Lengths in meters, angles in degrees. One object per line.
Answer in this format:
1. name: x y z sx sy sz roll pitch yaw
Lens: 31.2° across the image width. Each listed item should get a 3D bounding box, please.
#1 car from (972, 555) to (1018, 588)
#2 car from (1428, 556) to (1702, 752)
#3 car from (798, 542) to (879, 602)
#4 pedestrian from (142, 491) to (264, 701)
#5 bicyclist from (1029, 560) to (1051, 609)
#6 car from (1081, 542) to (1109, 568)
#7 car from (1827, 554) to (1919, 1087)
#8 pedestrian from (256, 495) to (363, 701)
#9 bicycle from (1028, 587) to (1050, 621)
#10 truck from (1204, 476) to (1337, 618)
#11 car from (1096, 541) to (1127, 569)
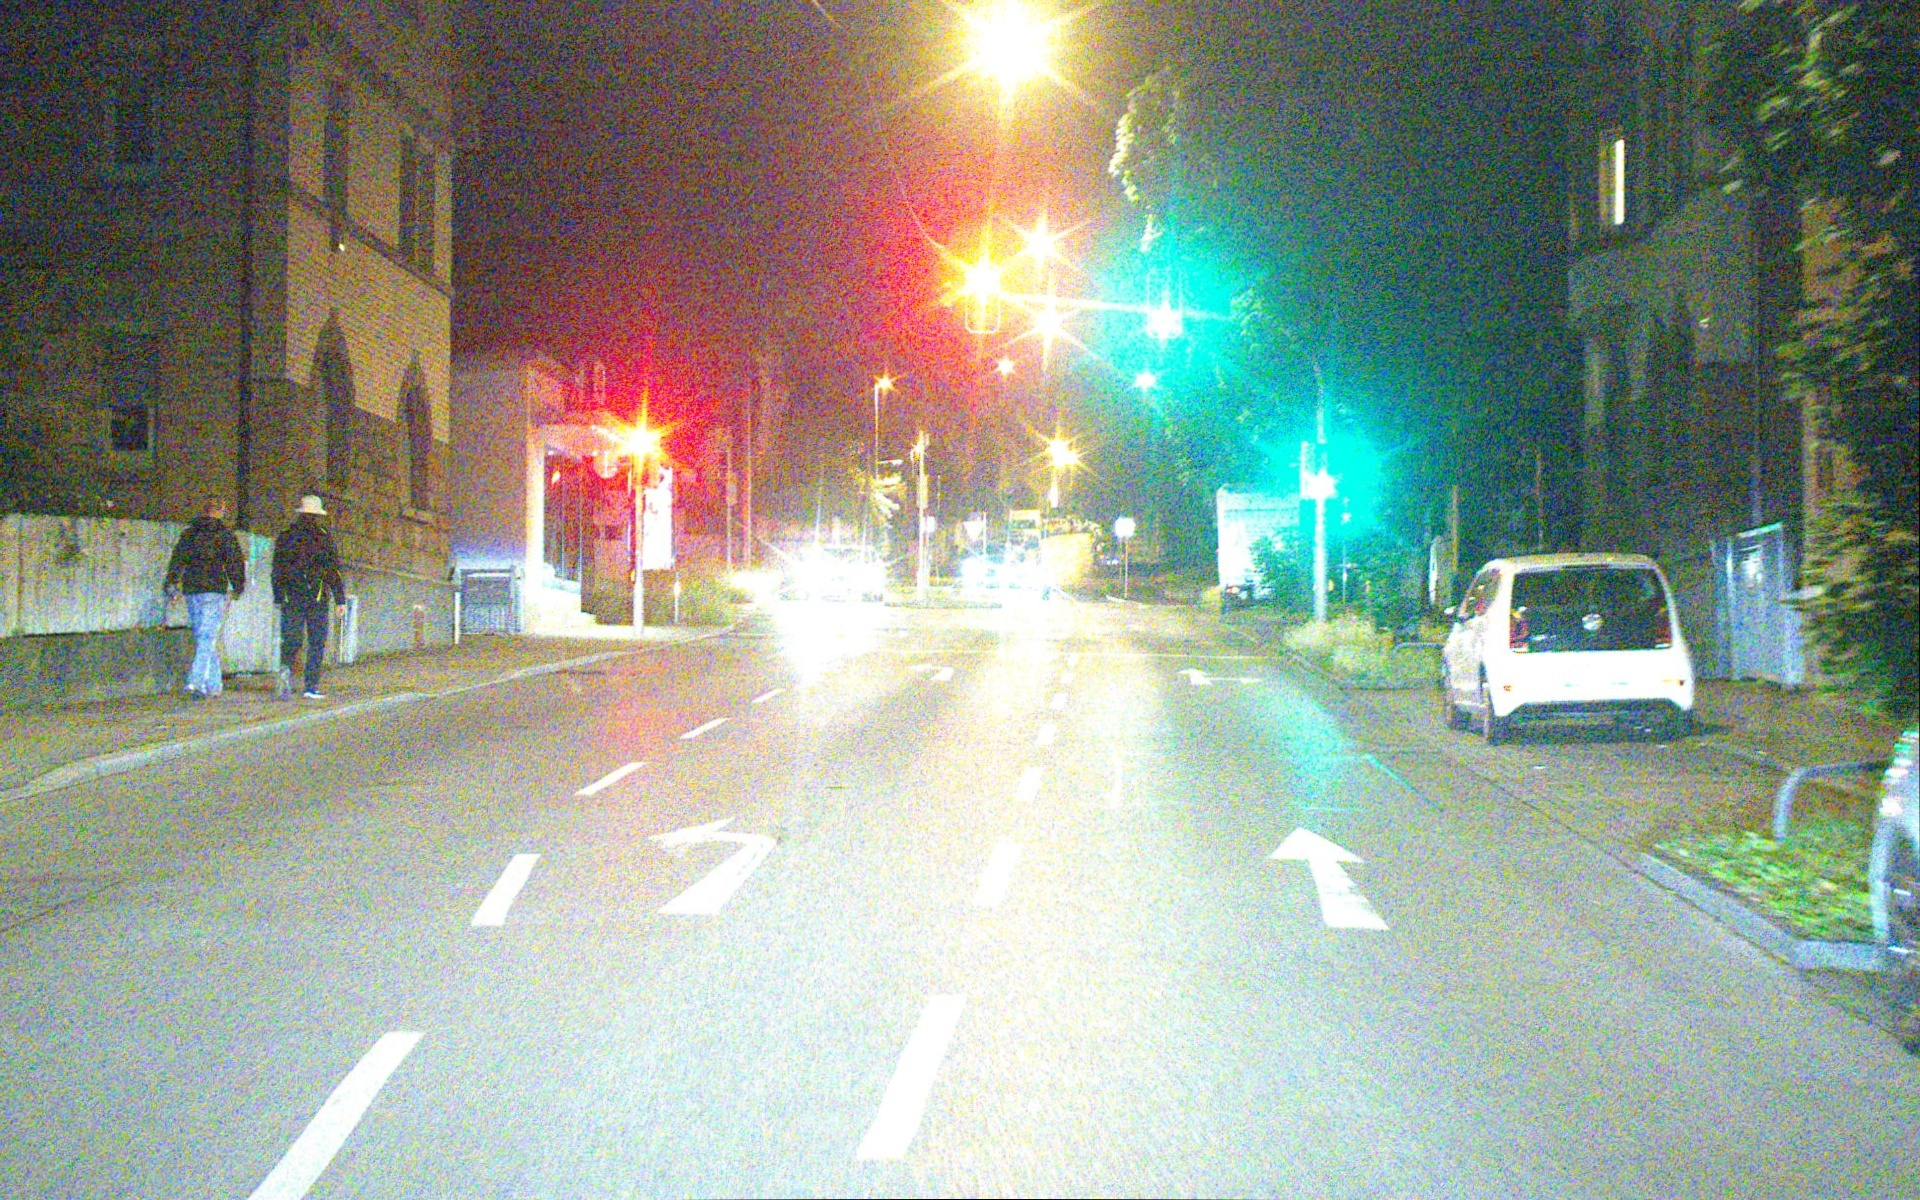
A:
1. car: 1.565 -1.241 150.881 1.916 1.384 4.582 2 1 2
2. car: 4.883 0.391 28.165 1.668 1.479 3.603 -1 1 1
3. car: -3.237 -0.753 92.572 1.857 1.529 4.027 2 1 2
4. pedestrian: -6.439 -0.035 29.298 0.742 1.739 1.103 1 0 1
5. bicyclist: 2.711 -0.518 116.642 0.690 1.631 0.896 1 0 2
6. car: 8.022 -2.668 204.630 1.634 1.447 3.484 2 1 2
7. car: 3.711 0.640 8.963 1.860 1.548 4.045 -1 1 0
8. pedestrian: -5.634 -0.019 29.817 0.675 1.739 1.029 1 0 1
9. bicycle: 2.681 0.139 116.568 0.696 1.145 1.950 1 0 2
10. truck: 7.132 -1.214 79.652 2.749 3.100 6.258 2 1 3
11. car: 8.287 -2.467 188.558 1.634 1.447 3.484 2 1 2
